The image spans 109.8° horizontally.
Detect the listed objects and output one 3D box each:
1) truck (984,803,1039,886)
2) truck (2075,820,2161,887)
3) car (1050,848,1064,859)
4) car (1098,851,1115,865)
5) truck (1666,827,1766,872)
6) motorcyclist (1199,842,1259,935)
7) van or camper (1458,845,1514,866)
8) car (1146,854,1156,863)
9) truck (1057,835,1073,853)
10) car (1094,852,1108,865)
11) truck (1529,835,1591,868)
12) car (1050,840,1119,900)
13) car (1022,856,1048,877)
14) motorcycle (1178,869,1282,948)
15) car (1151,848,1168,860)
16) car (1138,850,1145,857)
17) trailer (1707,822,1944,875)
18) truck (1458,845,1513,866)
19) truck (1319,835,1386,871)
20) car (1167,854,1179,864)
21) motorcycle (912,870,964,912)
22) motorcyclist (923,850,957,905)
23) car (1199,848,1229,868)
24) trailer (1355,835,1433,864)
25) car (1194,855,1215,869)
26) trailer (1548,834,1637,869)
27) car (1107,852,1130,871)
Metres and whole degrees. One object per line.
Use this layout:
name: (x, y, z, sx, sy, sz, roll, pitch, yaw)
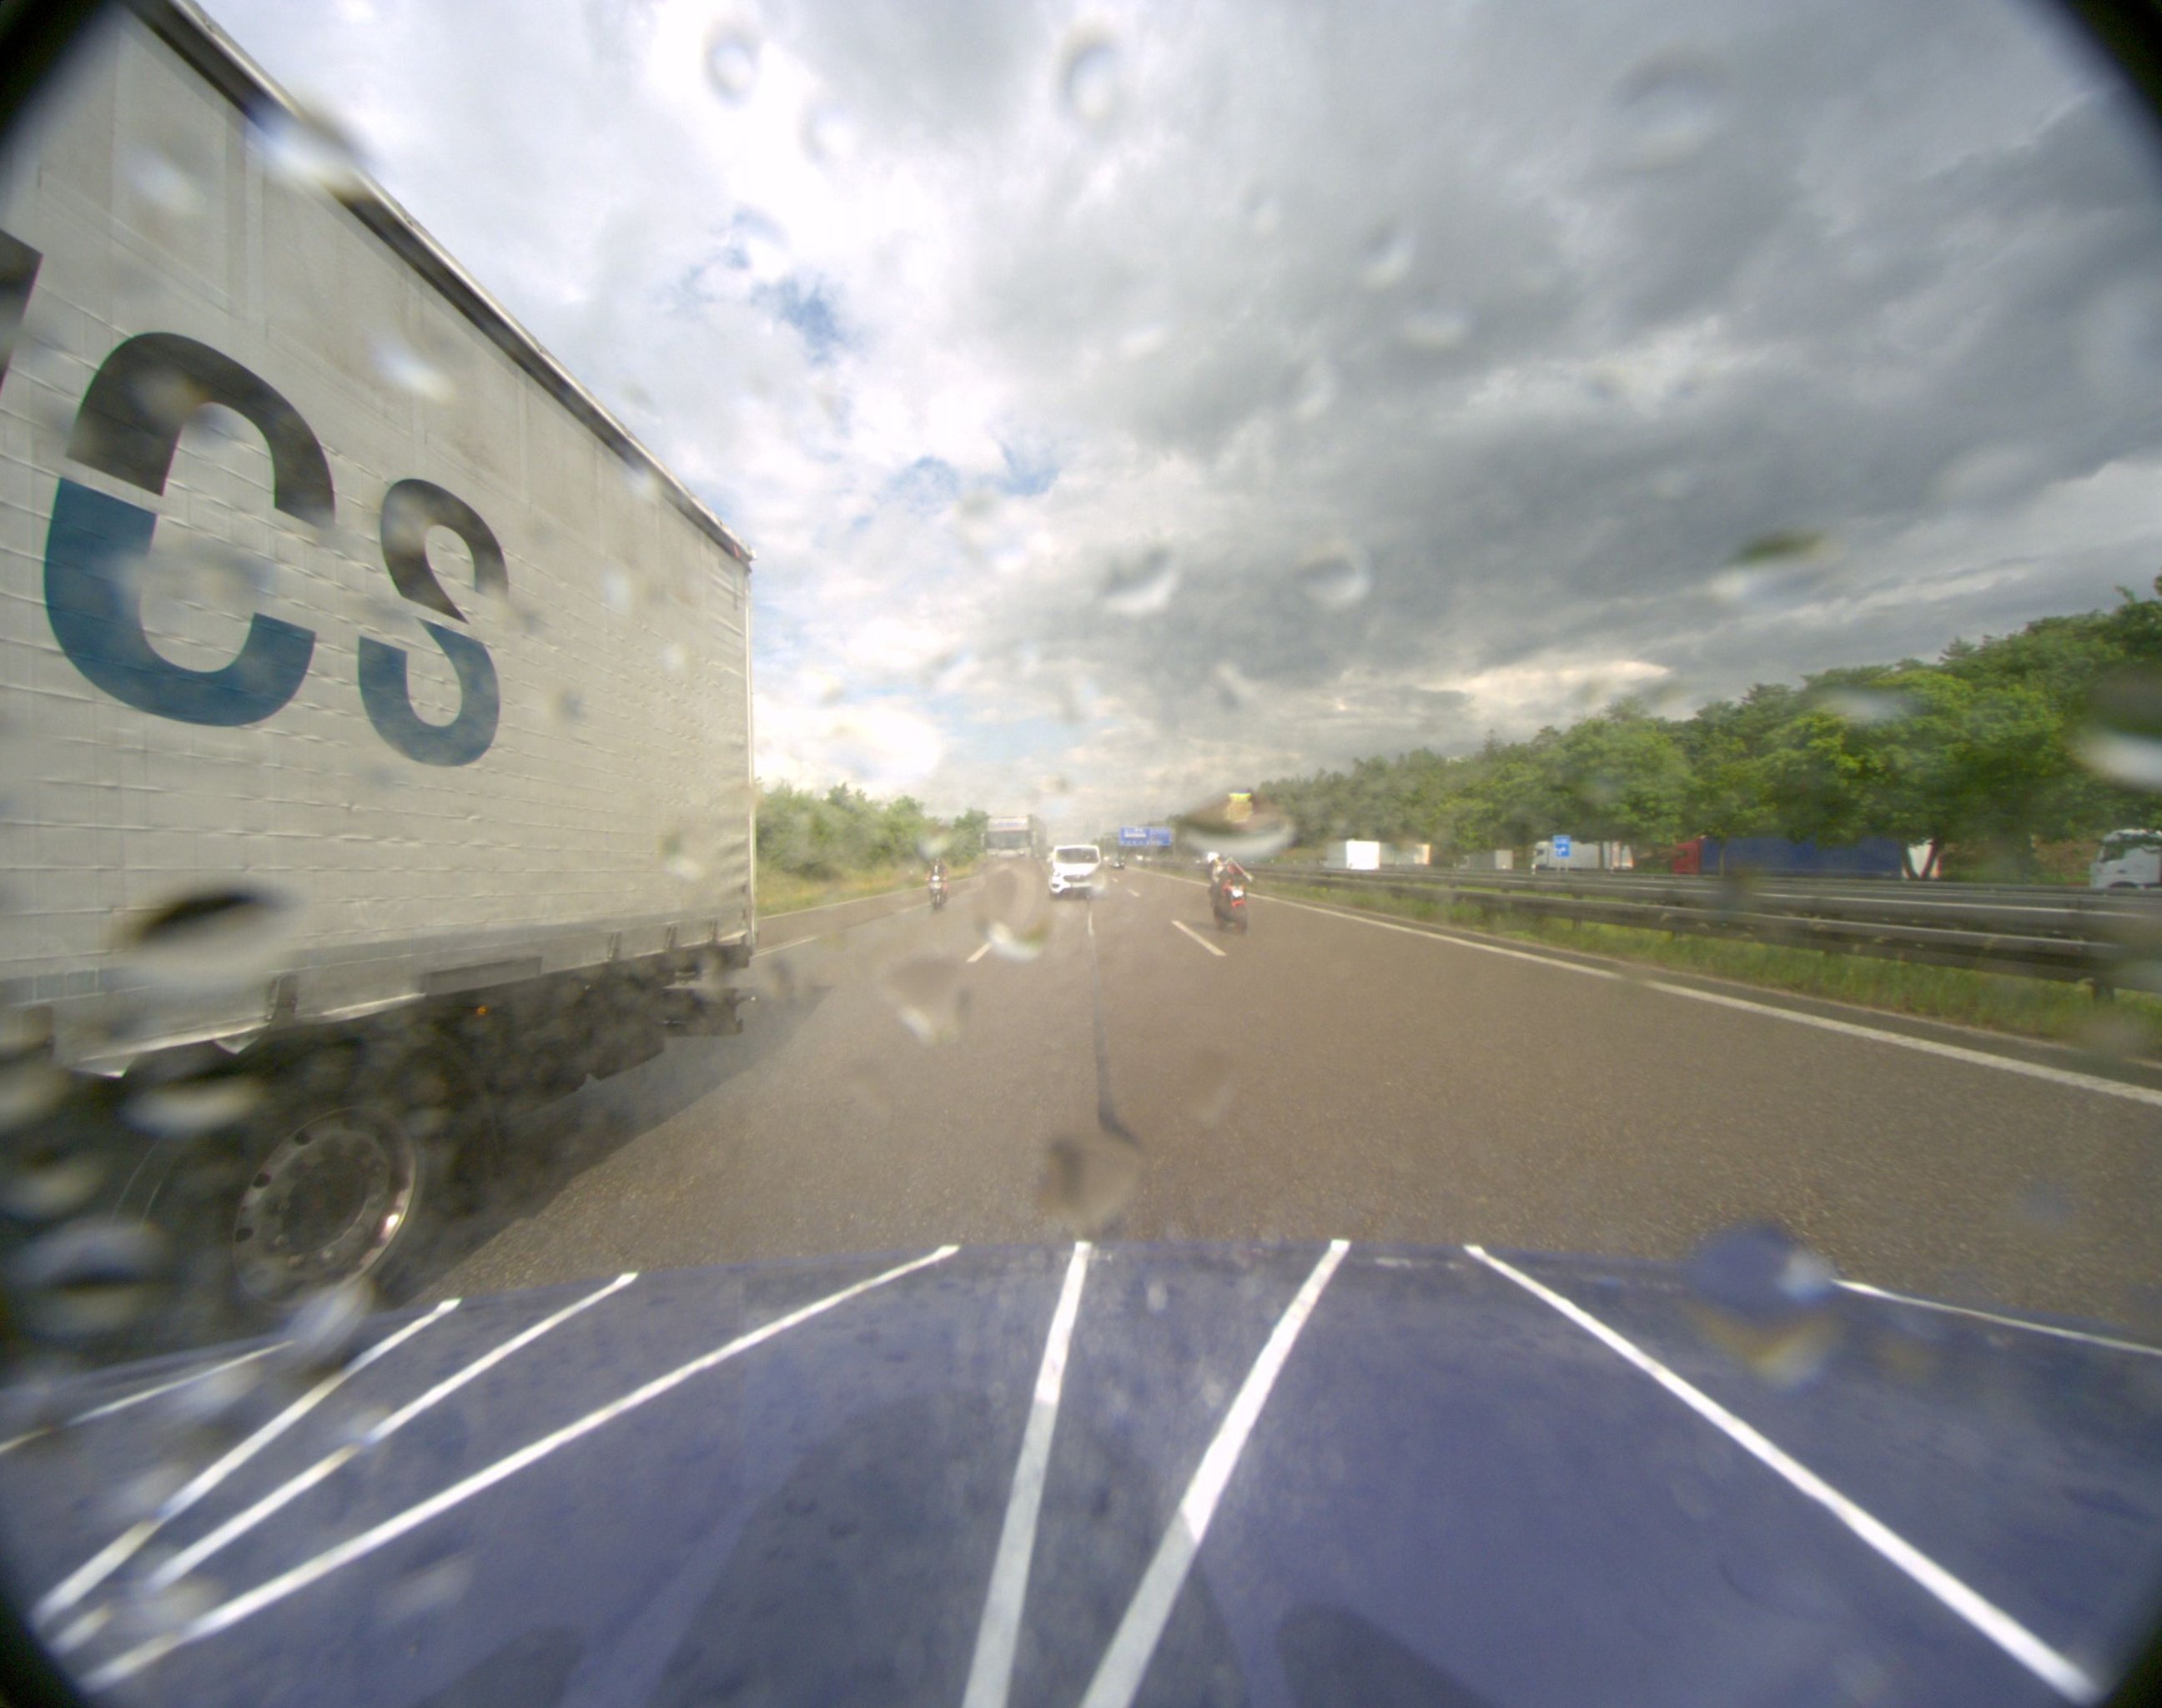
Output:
truck: (-3.784, -0.523, 42.956, 2.650, 4.250, 6.882, -2, 1, -3)
truck: (54.875, -0.048, 37.874, 3.362, 3.254, 5.505, -2, 1, -3)
car: (-4.546, -0.154, 142.562, 2.350, 2.033, 5.142, -2, 1, 0)
car: (3.782, 0.600, 115.551, 2.350, 2.033, 5.142, -2, 1, 0)
truck: (51.897, -0.374, 62.330, 2.869, 3.436, 5.893, -2, 1, -7)
motorcyclist: (2.824, 0.628, 14.567, 0.883, 1.696, 1.000, -2, 1, -2)
van or camper: (47.401, 0.168, 89.076, 2.126, 2.252, 6.316, -2, 1, -13)
car: (17.226, 1.076, 187.457, 1.835, 1.880, 4.778, -2, 1, 0)
truck: (-3.349, -2.149, 163.480, 3.218, 3.607, 10.153, -2, 1, 0)
car: (3.515, 0.797, 134.547, 2.350, 2.033, 5.142, -2, 1, 0)
truck: (49.228, -0.283, 78.244, 2.663, 3.249, 5.081, -2, 1, -10)
car: (0.129, 0.525, 29.233, 2.350, 2.033, 5.142, -2, 1, 0)
car: (-4.763, 1.287, 79.678, 2.350, 2.033, 5.142, -2, 1, 0)
motorcycle: (2.771, 0.964, 14.664, 1.188, 1.219, 3.193, -2, 1, -3)
car: (13.738, 0.006, 133.026, 2.306, 1.880, 4.778, -2, 1, 0)
car: (19.474, -0.203, 246.270, 1.835, 2.033, 4.778, -2, 1, 0)
trailer: (52.757, -0.369, 54.872, 2.832, 3.385, 13.417, -1, 0, -7)
truck: (47.379, 0.168, 89.191, 2.126, 2.252, 6.311, -2, 1, -13)
truck: (21.844, -0.134, 61.560, 2.849, 2.666, 7.191, -2, 1, 1)
car: (18.111, 0.966, 149.960, 1.835, 1.880, 4.778, -2, 1, 0)
motorcycle: (-4.599, 1.177, 24.782, 1.188, 1.142, 3.193, -2, 1, -3)
motorcyclist: (-4.555, 0.740, 24.564, 0.883, 1.696, 1.000, -2, 1, -2)
car: (13.466, 0.396, 77.189, 2.051, 1.880, 5.259, -2, 1, 0)
trailer: (43.093, -0.623, 105.313, 3.216, 3.717, 12.554, -1, 0, -14)
car: (18.596, 1.217, 114.265, 2.306, 1.880, 4.778, -2, 1, 0)
trailer: (49.949, -0.281, 74.504, 2.588, 3.214, 7.734, -1, 0, -10)
car: (4.350, 0.867, 88.811, 2.350, 2.033, 5.142, -2, 1, 0)
